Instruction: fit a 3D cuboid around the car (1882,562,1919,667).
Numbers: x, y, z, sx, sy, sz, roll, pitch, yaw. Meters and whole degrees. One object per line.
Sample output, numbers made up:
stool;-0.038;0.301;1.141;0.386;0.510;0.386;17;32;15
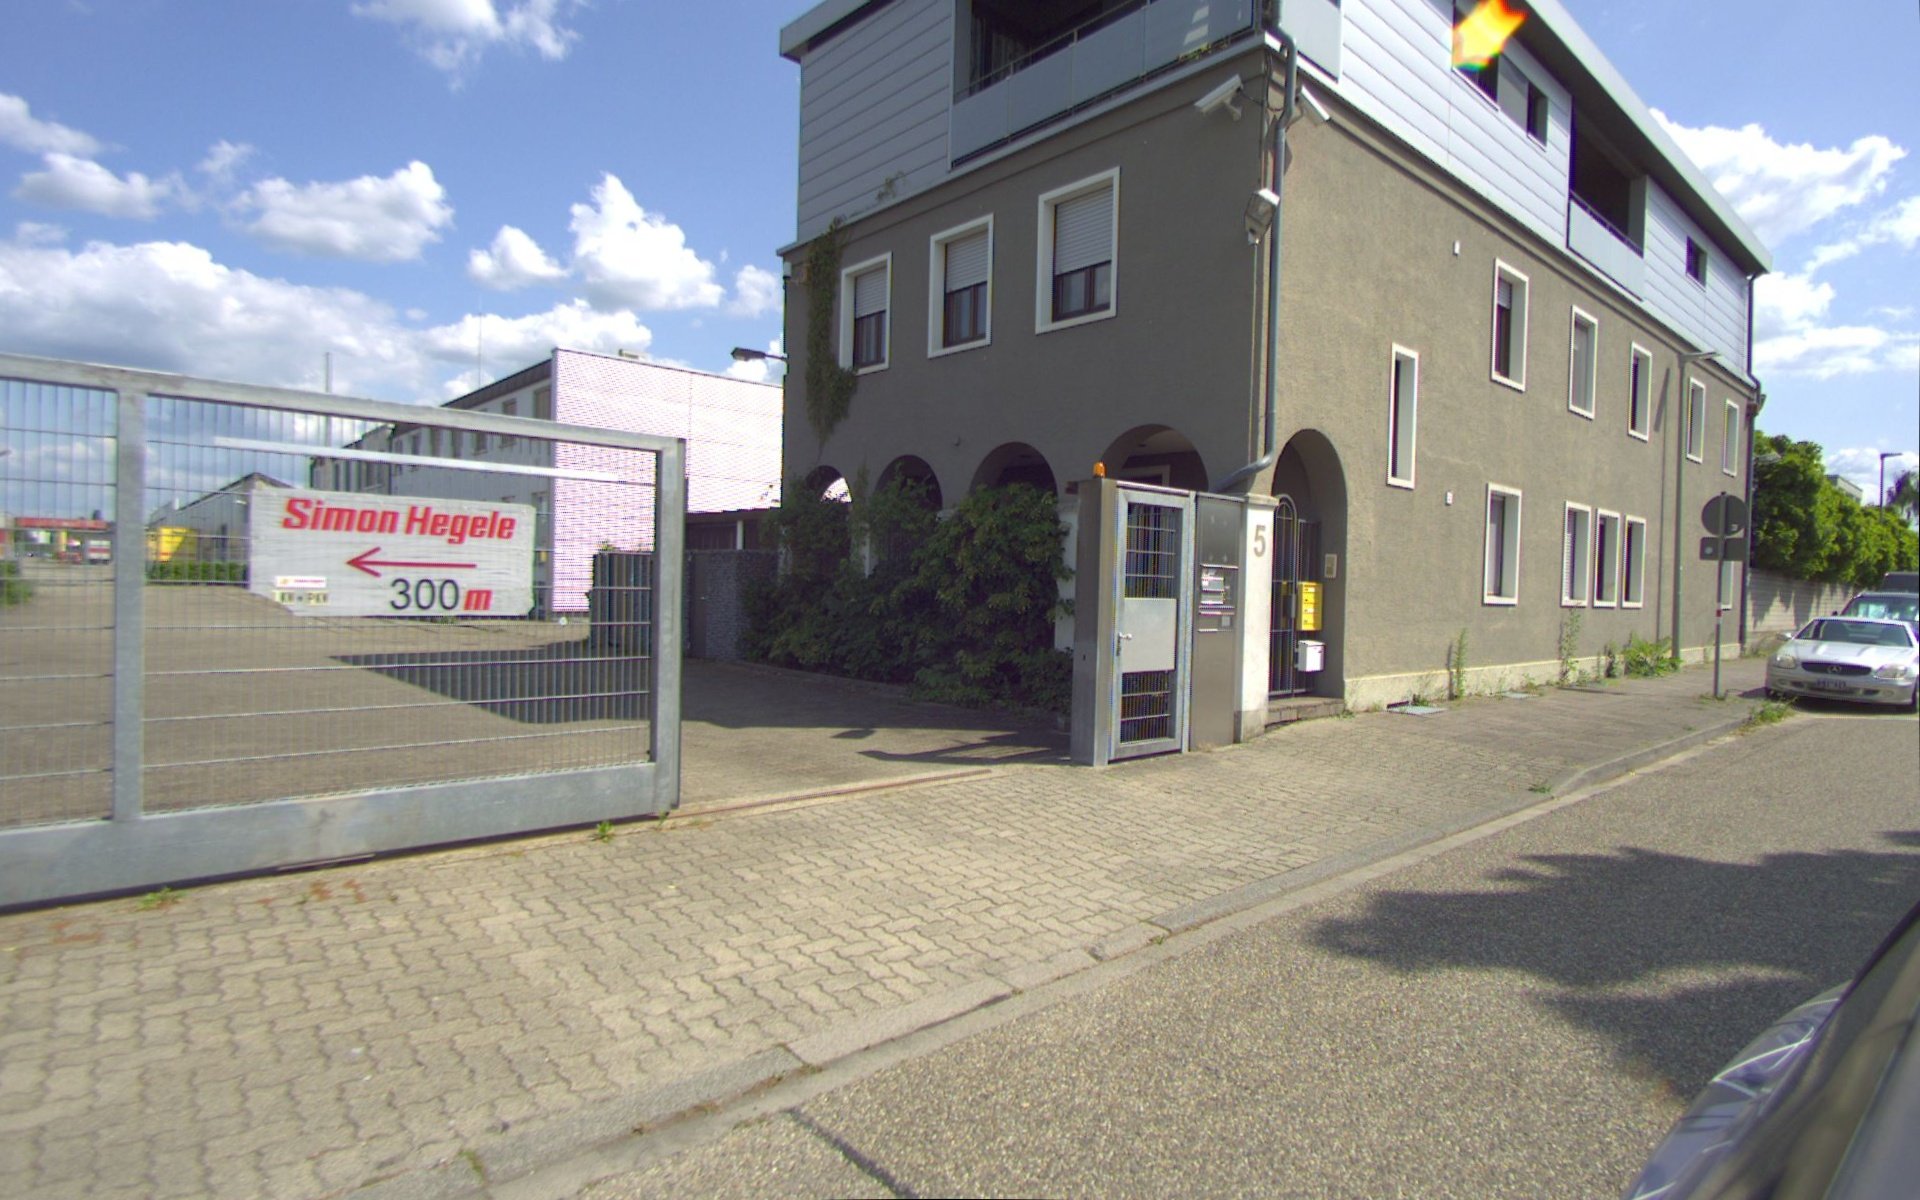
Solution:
car;23.332;0.383;23.857;4.339;2.331;1.996;1;2;-44

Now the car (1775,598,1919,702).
car;13.899;0.681;15.477;3.932;1.349;1.655;0;1;-43

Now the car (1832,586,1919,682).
car;18.604;0.627;19.761;3.933;1.708;1.996;0;1;-44
